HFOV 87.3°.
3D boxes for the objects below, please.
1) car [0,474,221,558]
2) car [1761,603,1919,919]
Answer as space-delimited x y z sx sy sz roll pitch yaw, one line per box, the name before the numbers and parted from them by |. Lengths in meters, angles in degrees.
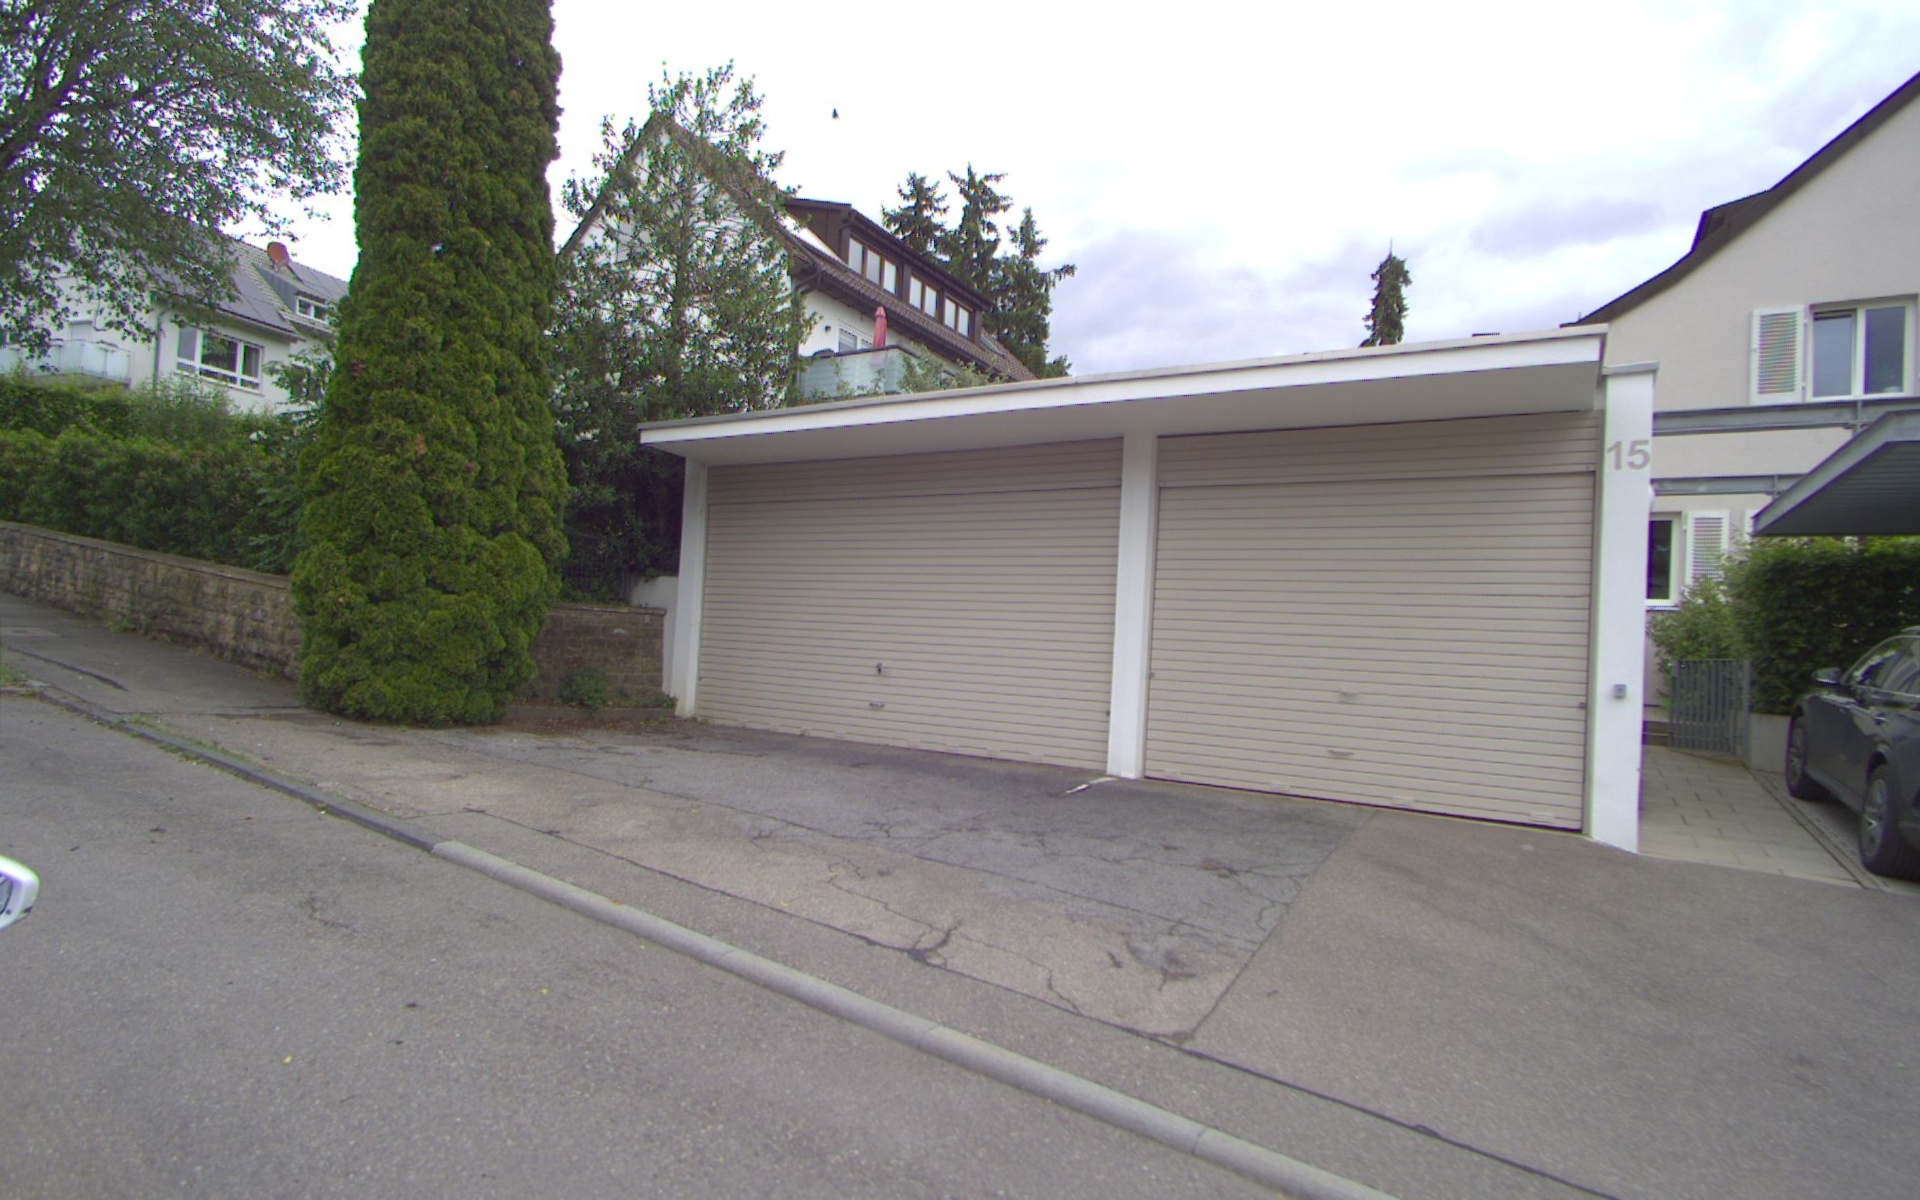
car | -17.778 -1.701 20.162 1.935 1.491 4.357 7 7 30
car | 7.459 1.032 7.238 1.853 1.674 4.359 7 6 30
